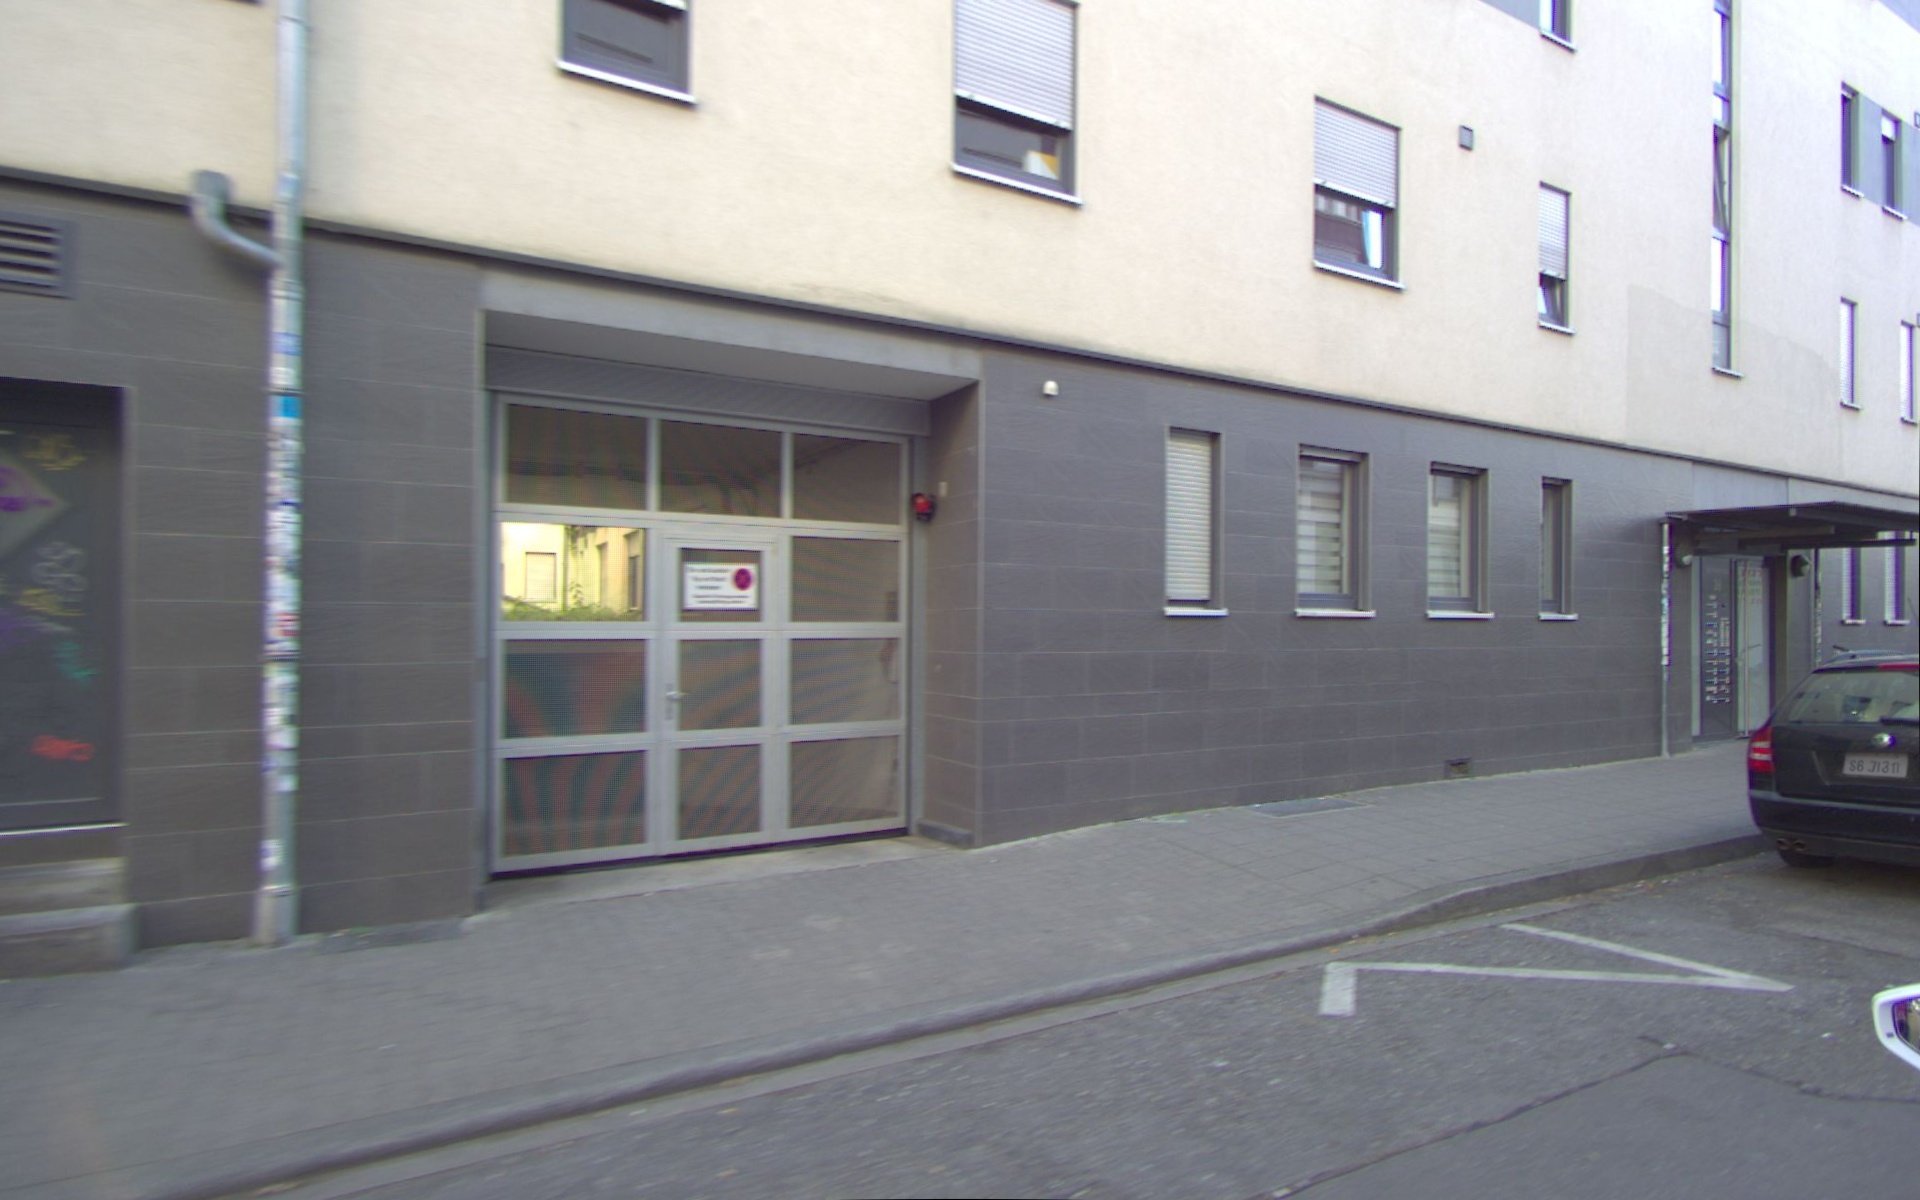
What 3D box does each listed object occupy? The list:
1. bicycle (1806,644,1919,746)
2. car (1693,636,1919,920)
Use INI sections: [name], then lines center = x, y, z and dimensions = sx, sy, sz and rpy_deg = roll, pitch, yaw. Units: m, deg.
[bicycle]
center = 11.260, 1.150, 12.508
dimensions = 1.751, 1.180, 0.488
rpy_deg = 1, -3, -29
[car]
center = 7.006, 0.995, 6.729
dimensions = 4.445, 1.498, 1.709
rpy_deg = 0, -3, -30
